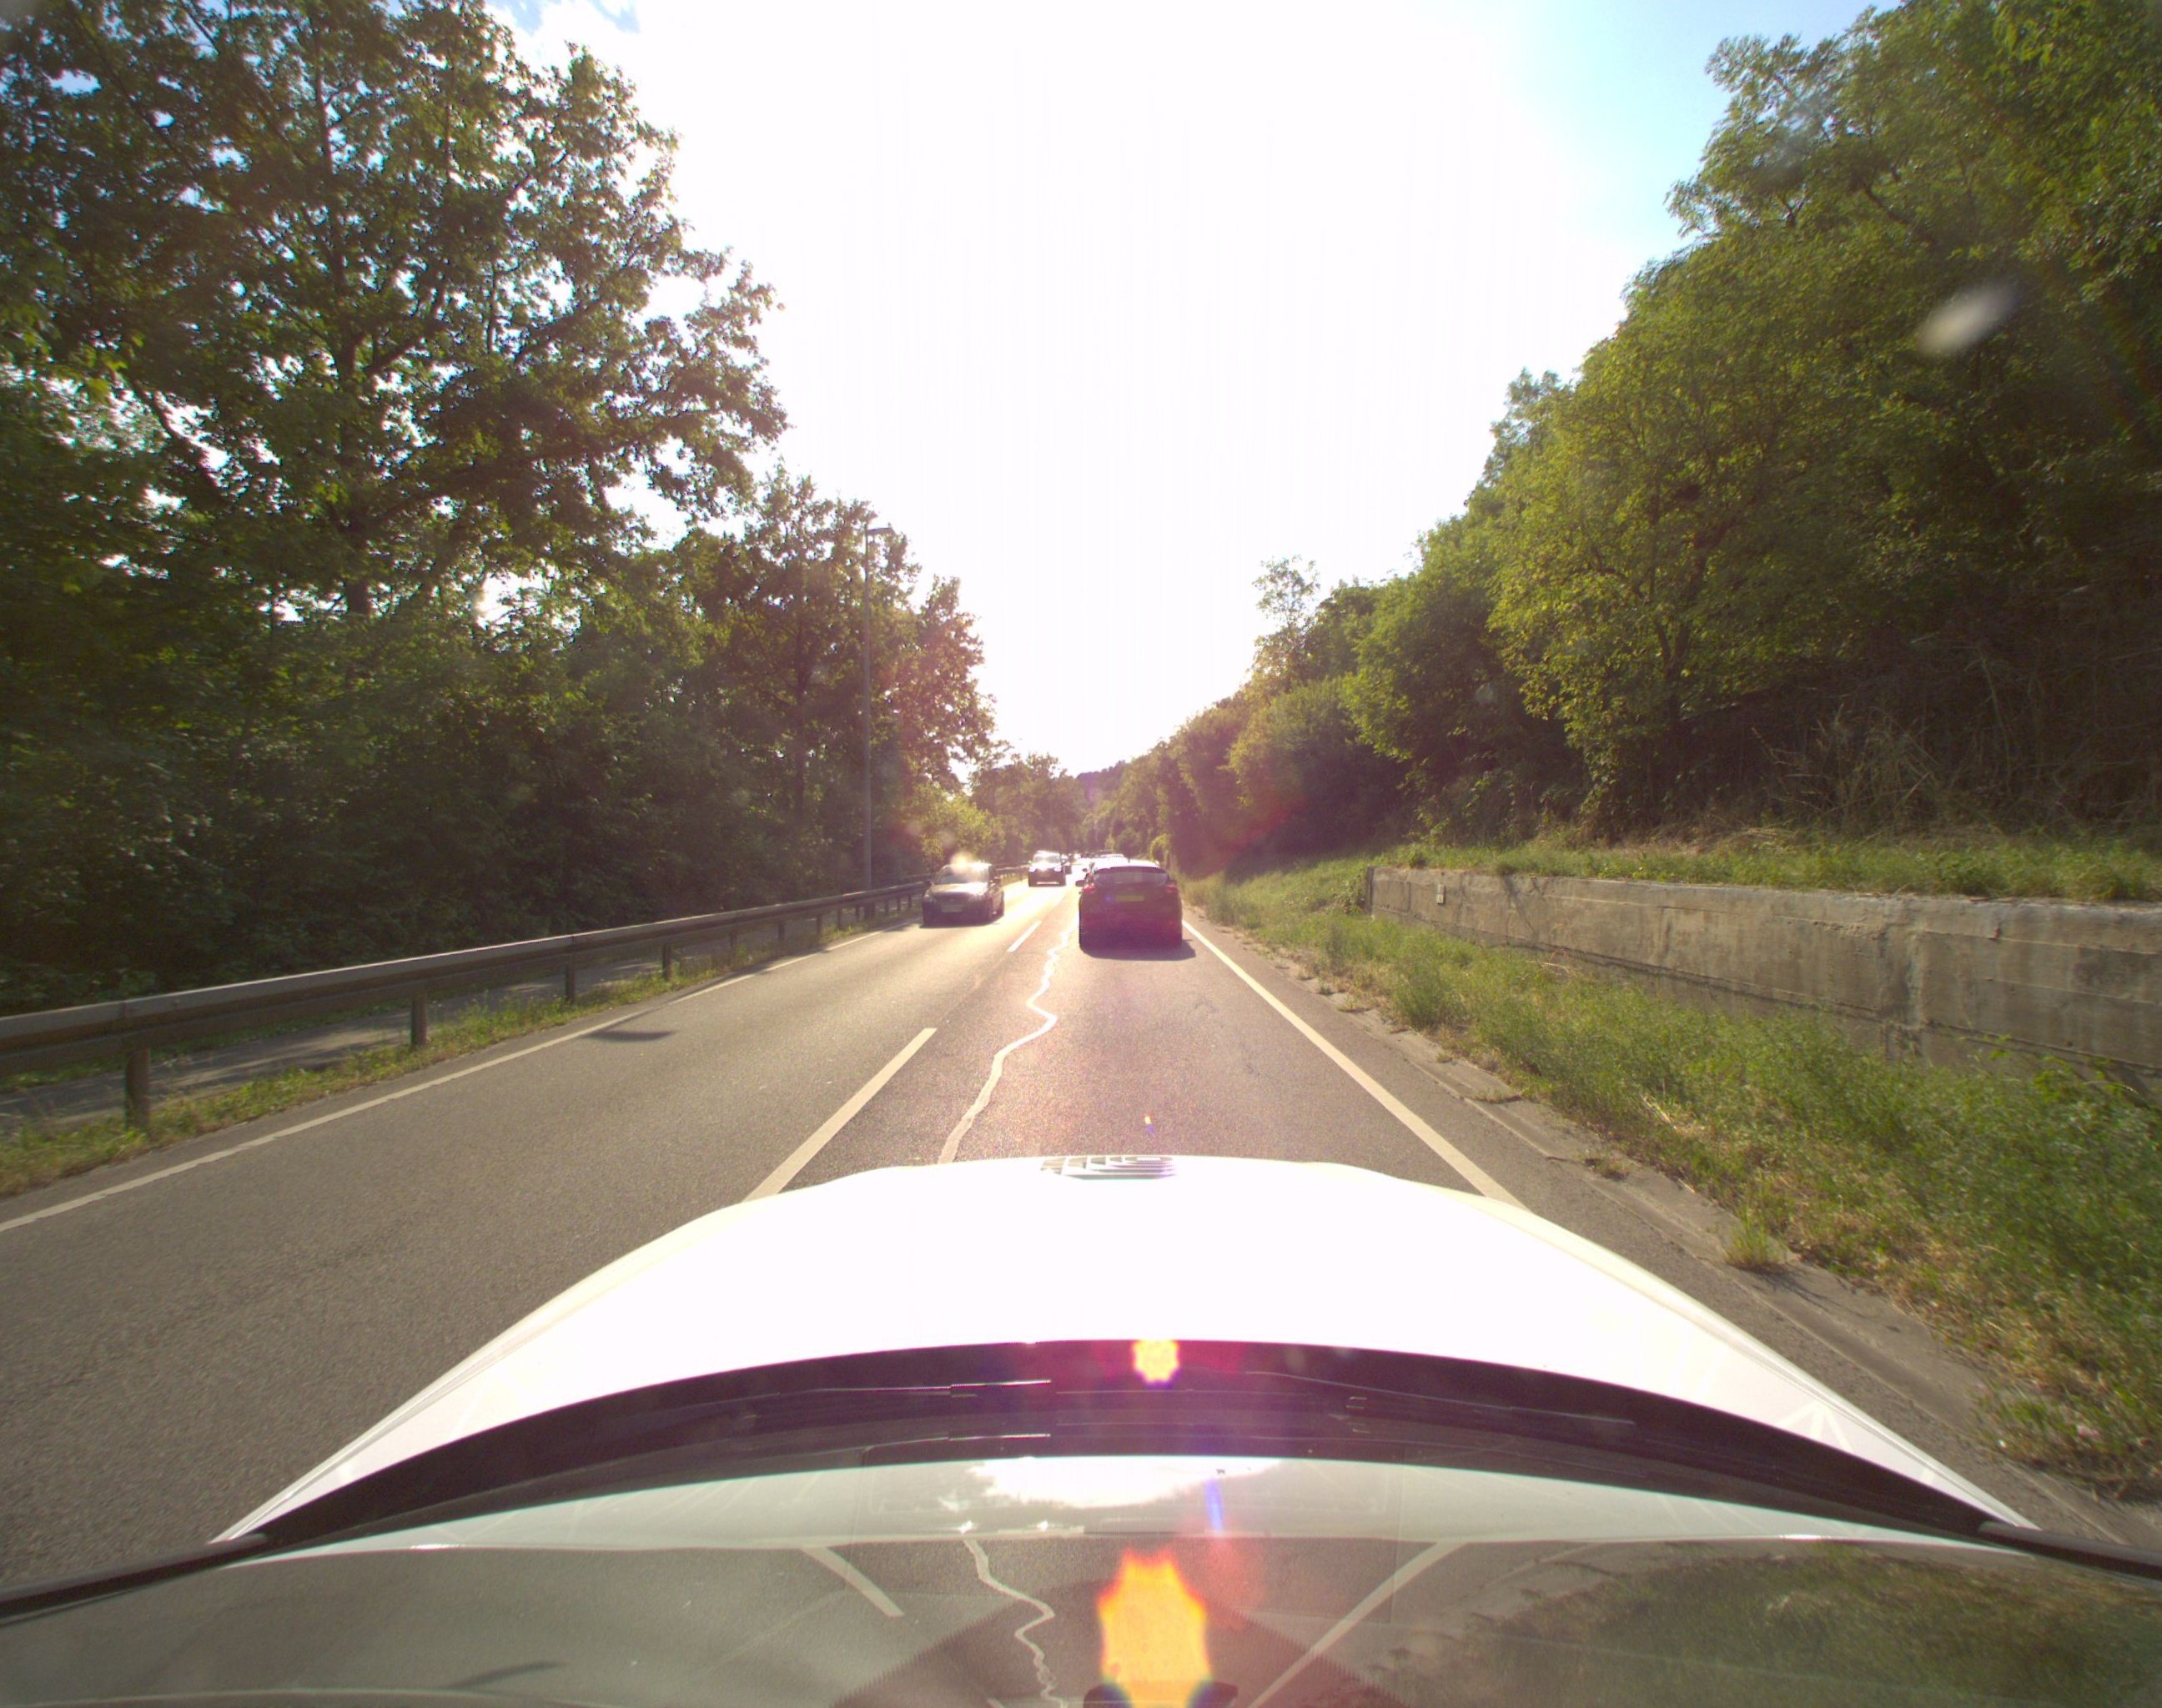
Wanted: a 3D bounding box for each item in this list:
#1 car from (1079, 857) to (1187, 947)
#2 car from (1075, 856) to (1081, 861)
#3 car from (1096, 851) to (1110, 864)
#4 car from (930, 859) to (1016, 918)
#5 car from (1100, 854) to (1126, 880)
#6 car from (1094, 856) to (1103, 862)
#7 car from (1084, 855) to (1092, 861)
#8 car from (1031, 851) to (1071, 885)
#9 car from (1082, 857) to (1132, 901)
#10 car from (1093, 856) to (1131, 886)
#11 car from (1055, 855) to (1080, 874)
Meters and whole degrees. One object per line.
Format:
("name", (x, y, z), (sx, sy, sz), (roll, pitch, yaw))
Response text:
("car", (0.909, 0.793, 15.230), (1.733, 1.456, 4.002), (0, 0, 2))
("car", (-0.772, 1.313, 242.534), (1.617, 1.377, 4.048), (-4, 0, 1))
("car", (3.167, 0.487, 118.867), (1.857, 1.780, 4.000), (-1, 0, 0))
("car", (-2.894, 0.895, 22.657), (1.675, 1.442, 4.002), (-1, 0, 2))
("car", (2.070, 0.813, 53.198), (1.624, 1.596, 4.002), (-1, 0, 2))
("car", (4.527, 1.234, 212.874), (1.991, 1.519, 3.992), (-1, 0, -6))
("car", (2.152, 1.191, 247.591), (1.991, 1.519, 3.992), (-1, 0, -6))
("car", (-1.579, 0.715, 43.946), (1.741, 1.717, 4.224), (-1, 0, 3))
("car", (0.987, 0.859, 29.397), (1.654, 1.418, 4.003), (-1, 0, 3))
("car", (1.582, 0.838, 41.319), (1.798, 1.391, 4.002), (-1, 0, 2))
("car", (-1.089, 0.861, 66.817), (1.685, 1.420, 4.145), (-2, 0, 3))
